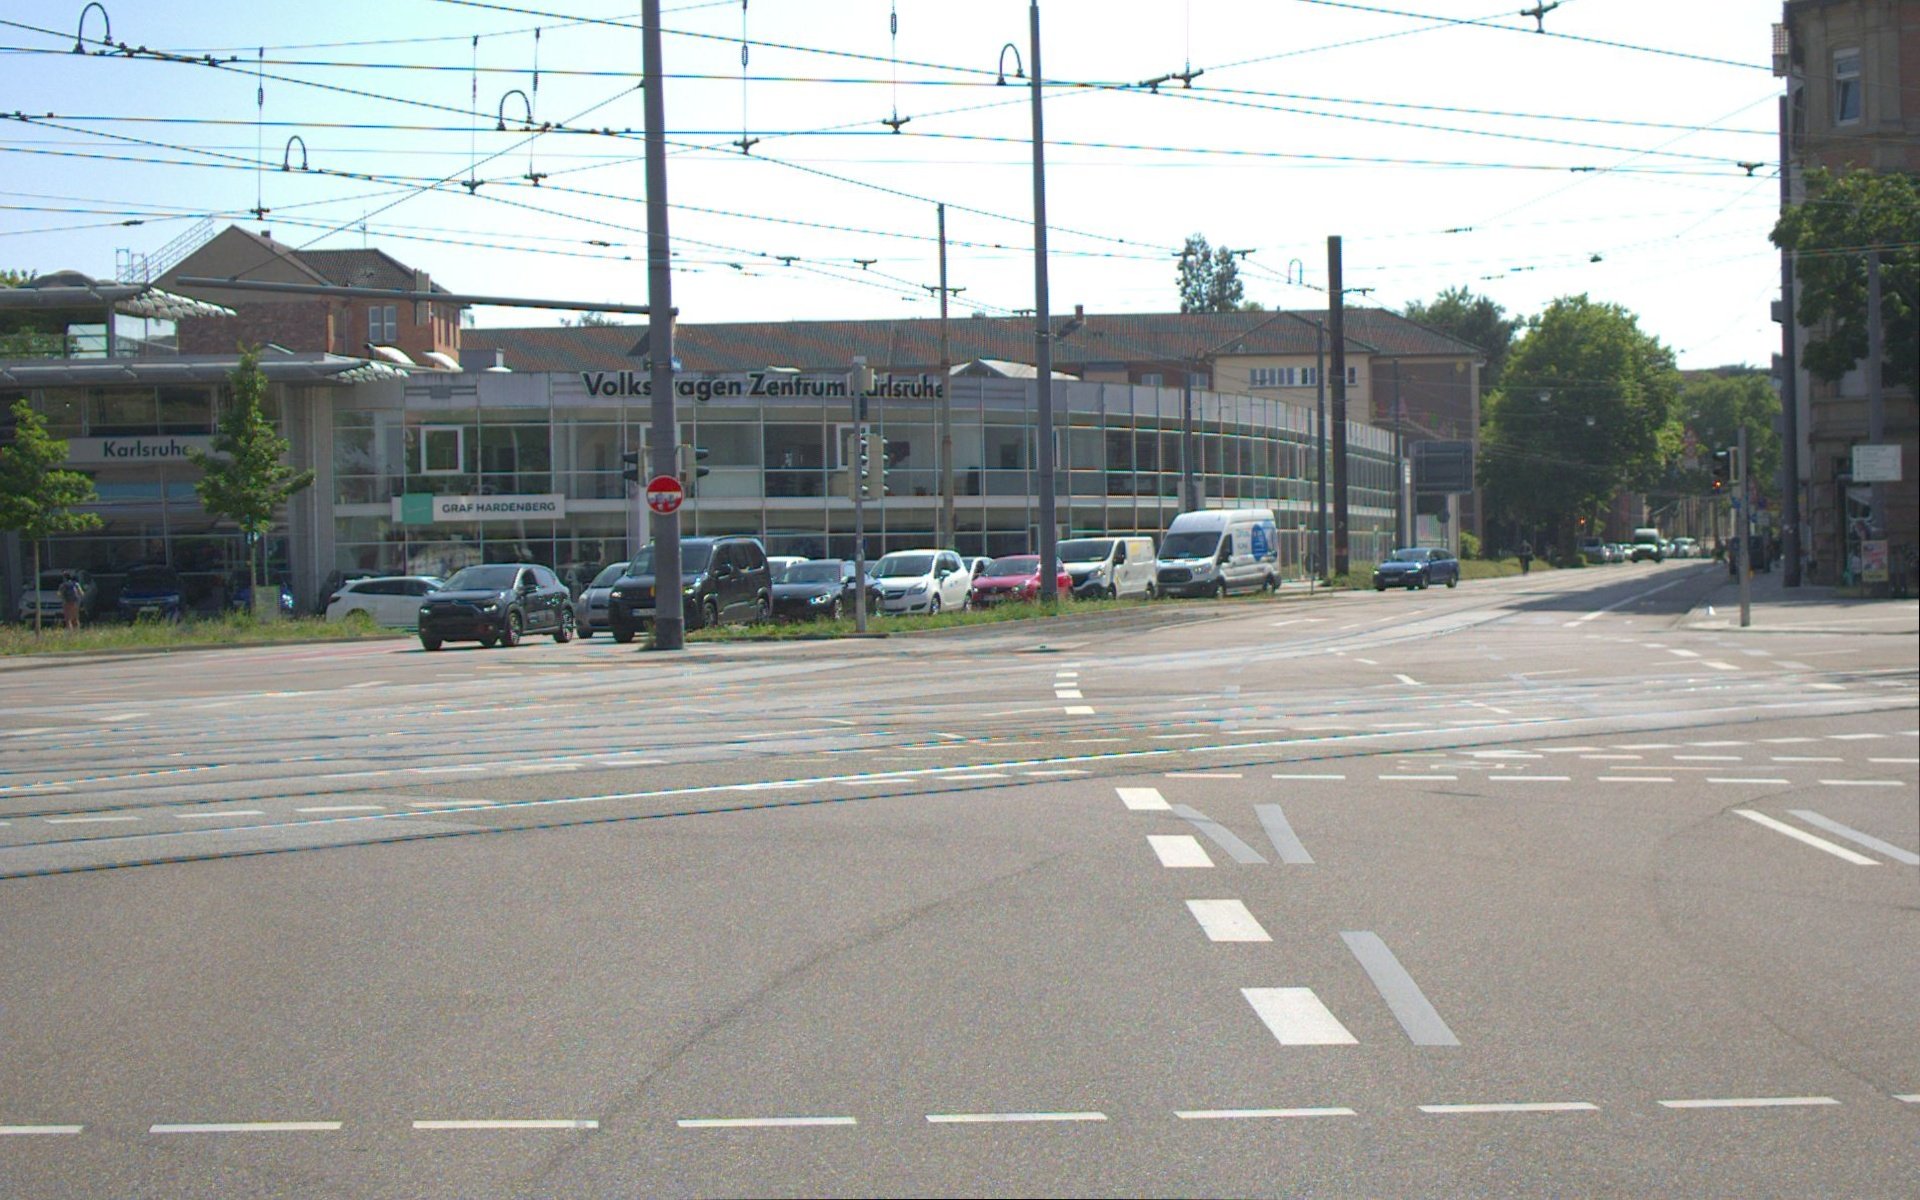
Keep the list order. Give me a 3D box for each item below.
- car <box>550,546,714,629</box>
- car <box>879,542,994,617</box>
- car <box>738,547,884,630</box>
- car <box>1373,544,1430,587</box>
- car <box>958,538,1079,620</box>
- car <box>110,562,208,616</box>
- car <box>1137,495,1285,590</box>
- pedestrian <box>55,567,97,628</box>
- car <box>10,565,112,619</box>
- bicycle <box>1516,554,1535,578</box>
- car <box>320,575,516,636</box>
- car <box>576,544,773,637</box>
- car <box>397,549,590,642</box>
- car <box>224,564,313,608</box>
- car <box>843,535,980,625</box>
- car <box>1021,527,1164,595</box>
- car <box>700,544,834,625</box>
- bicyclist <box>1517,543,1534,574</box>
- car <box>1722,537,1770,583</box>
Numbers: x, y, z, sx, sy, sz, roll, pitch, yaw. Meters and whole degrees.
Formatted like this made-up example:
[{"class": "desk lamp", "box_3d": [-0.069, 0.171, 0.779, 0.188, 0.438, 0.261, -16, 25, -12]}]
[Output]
[{"class": "car", "box_3d": [-6.524, -0.238, 68.781, 1.896, 1.582, 3.997, -1, -1, 16]}, {"class": "car", "box_3d": [-0.574, -0.494, 87.944, 1.808, 1.840, 4.197, -1, -1, 16]}, {"class": "car", "box_3d": [-2.959, -0.219, 69.165, 1.895, 1.582, 3.997, -1, 0, 13]}, {"class": "car", "box_3d": [15.216, -1.188, 118.388, 1.385, 1.409, 3.010, 1, 0, 19]}, {"class": "car", "box_3d": [1.455, -0.481, 83.398, 1.896, 1.910, 4.197, -1, -1, 16]}, {"class": "car", "box_3d": [-22.853, -0.328, 98.199, 1.993, 1.481, 4.000, 1, 0, -2]}, {"class": "car", "box_3d": [7.172, -1.607, 97.700, 2.211, 2.567, 5.867, 1, 0, 25]}, {"class": "pedestrian", "box_3d": [-23.249, -0.069, 90.449, 0.953, 1.574, 0.534, 1, 0, -4]}, {"class": "car", "box_3d": [-25.640, -0.242, 98.200, 1.993, 1.481, 4.000, -1, 1, -2]}, {"class": "bicycle", "box_3d": [28.681, -1.710, 174.468, 0.752, 1.190, 2.837, 1, 0, 13]}, {"class": "car", "box_3d": [-13.450, 0.130, 85.302, 4.587, 1.431, 1.443, 1, 0, 13]}, {"class": "car", "box_3d": [-5.087, -0.198, 61.959, 1.962, 1.582, 4.712, -1, 1, 16]}, {"class": "car", "box_3d": [-8.357, -0.065, 61.952, 1.893, 1.582, 4.207, -1, 0, 16]}, {"class": "car", "box_3d": [-19.656, -0.392, 97.840, 1.830, 1.191, 4.000, 1, 0, -2]}, {"class": "car", "box_3d": [-1.052, -0.419, 76.476, 1.896, 1.910, 4.197, -1, -1, 16]}, {"class": "car", "box_3d": [3.531, -1.041, 90.468, 2.187, 1.675, 5.024, -1, 1, 22]}, {"class": "car", "box_3d": [-4.247, -0.326, 76.125, 1.652, 1.733, 4.197, -1, -1, 16]}, {"class": "bicyclist", "box_3d": [28.696, -2.110, 174.501, 0.752, 1.562, 1.086, 1, 0, 13]}, {"class": "car", "box_3d": [37.466, -1.905, 163.890, 2.110, 2.006, 3.998, -2, 1, 14]}]
